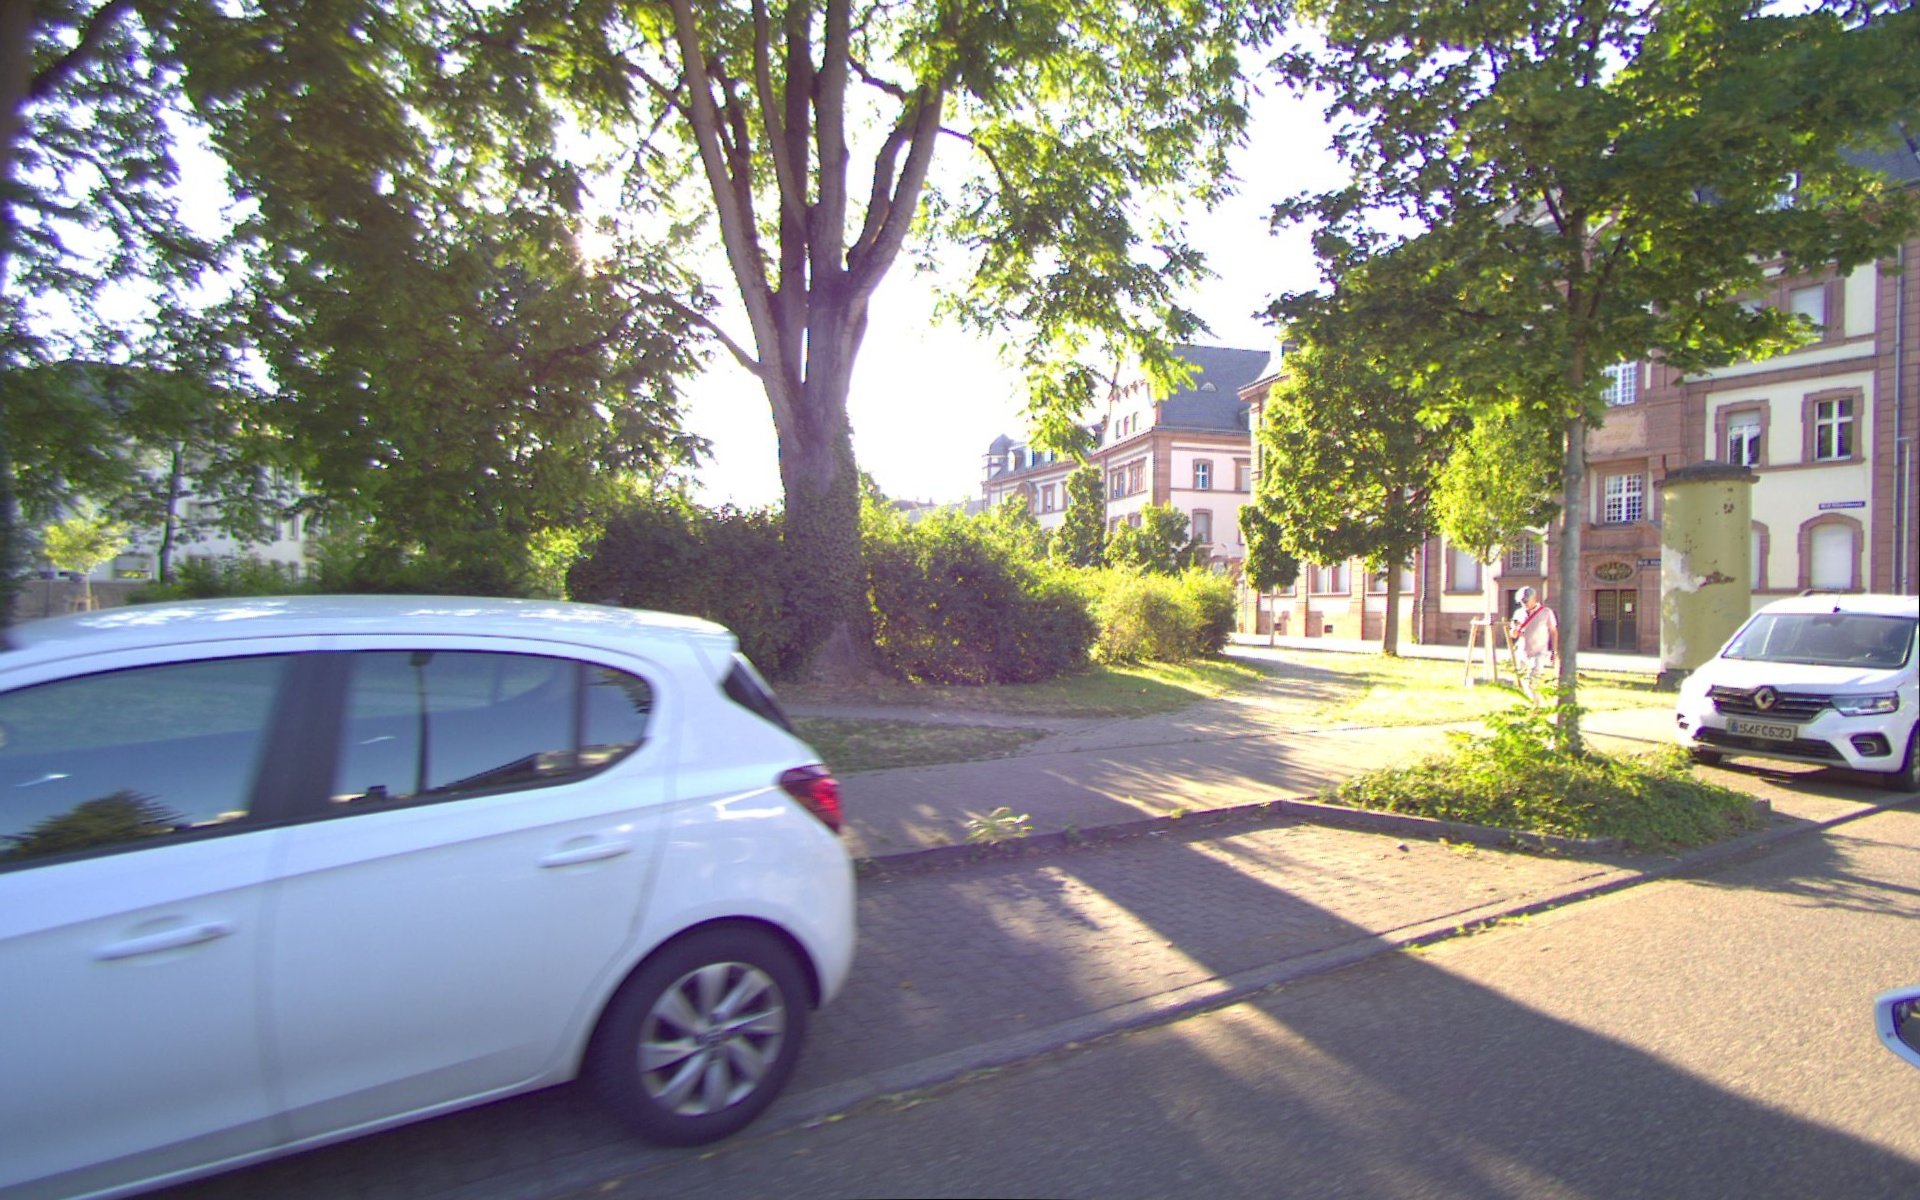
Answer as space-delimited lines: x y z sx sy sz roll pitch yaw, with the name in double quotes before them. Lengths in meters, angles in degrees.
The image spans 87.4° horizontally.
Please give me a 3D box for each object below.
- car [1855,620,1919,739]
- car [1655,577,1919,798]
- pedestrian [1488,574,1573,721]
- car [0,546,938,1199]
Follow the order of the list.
"car" 14.499 1.090 14.086 4.503 1.525 1.771 1 0 -33
"car" 9.247 0.772 10.464 4.505 1.865 1.770 1 0 -34
"pedestrian" 7.297 0.592 12.853 0.937 1.808 0.595 1 0 -36
"car" -2.095 0.668 2.729 3.825 1.546 1.582 1 0 -34
